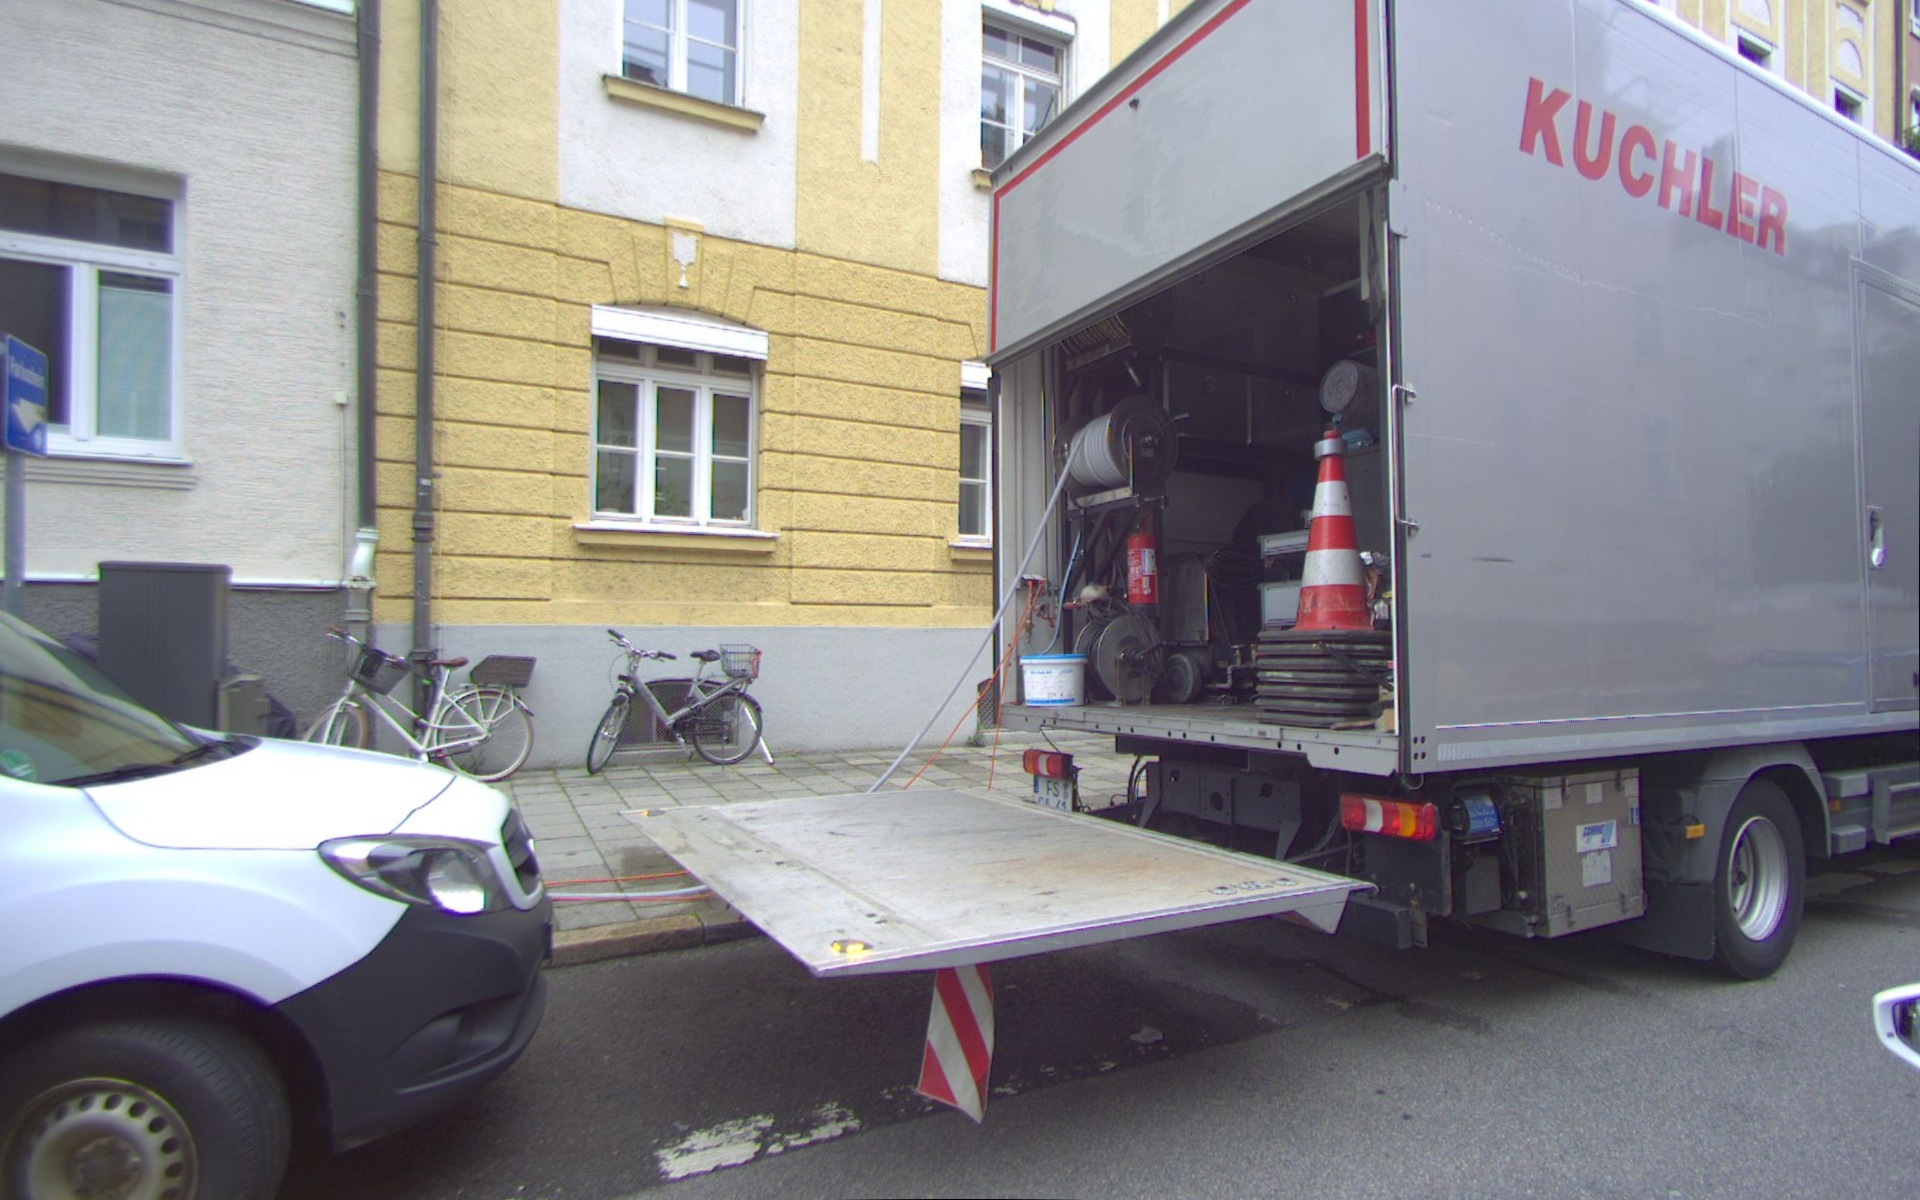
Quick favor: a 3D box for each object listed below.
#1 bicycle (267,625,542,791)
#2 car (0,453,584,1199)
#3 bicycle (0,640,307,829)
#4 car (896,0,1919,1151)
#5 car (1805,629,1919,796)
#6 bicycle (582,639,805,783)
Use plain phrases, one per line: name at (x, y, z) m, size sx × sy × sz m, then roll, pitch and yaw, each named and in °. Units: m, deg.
bicycle at (-4.143, 0.779, 7.597) m, size 1.745 × 1.119 × 0.504 m, roll 2°, pitch 2°, yaw -29°
car at (-3.224, 0.620, 2.282) m, size 4.271 × 1.802 × 1.757 m, roll 1°, pitch -2°, yaw -27°
bicycle at (-5.378, 0.826, 6.541) m, size 1.848 × 1.119 × 0.397 m, roll 2°, pitch 0°, yaw -38°
car at (4.115, -0.341, 6.054) m, size 8.616 × 3.868 × 2.801 m, roll 1°, pitch -1°, yaw -29°
car at (9.941, 1.015, 9.499) m, size 3.660 × 1.428 × 1.693 m, roll 1°, pitch -1°, yaw -26°
bicycle at (-2.277, 0.908, 8.642) m, size 1.745 × 1.119 × 0.605 m, roll 2°, pitch 0°, yaw -29°
